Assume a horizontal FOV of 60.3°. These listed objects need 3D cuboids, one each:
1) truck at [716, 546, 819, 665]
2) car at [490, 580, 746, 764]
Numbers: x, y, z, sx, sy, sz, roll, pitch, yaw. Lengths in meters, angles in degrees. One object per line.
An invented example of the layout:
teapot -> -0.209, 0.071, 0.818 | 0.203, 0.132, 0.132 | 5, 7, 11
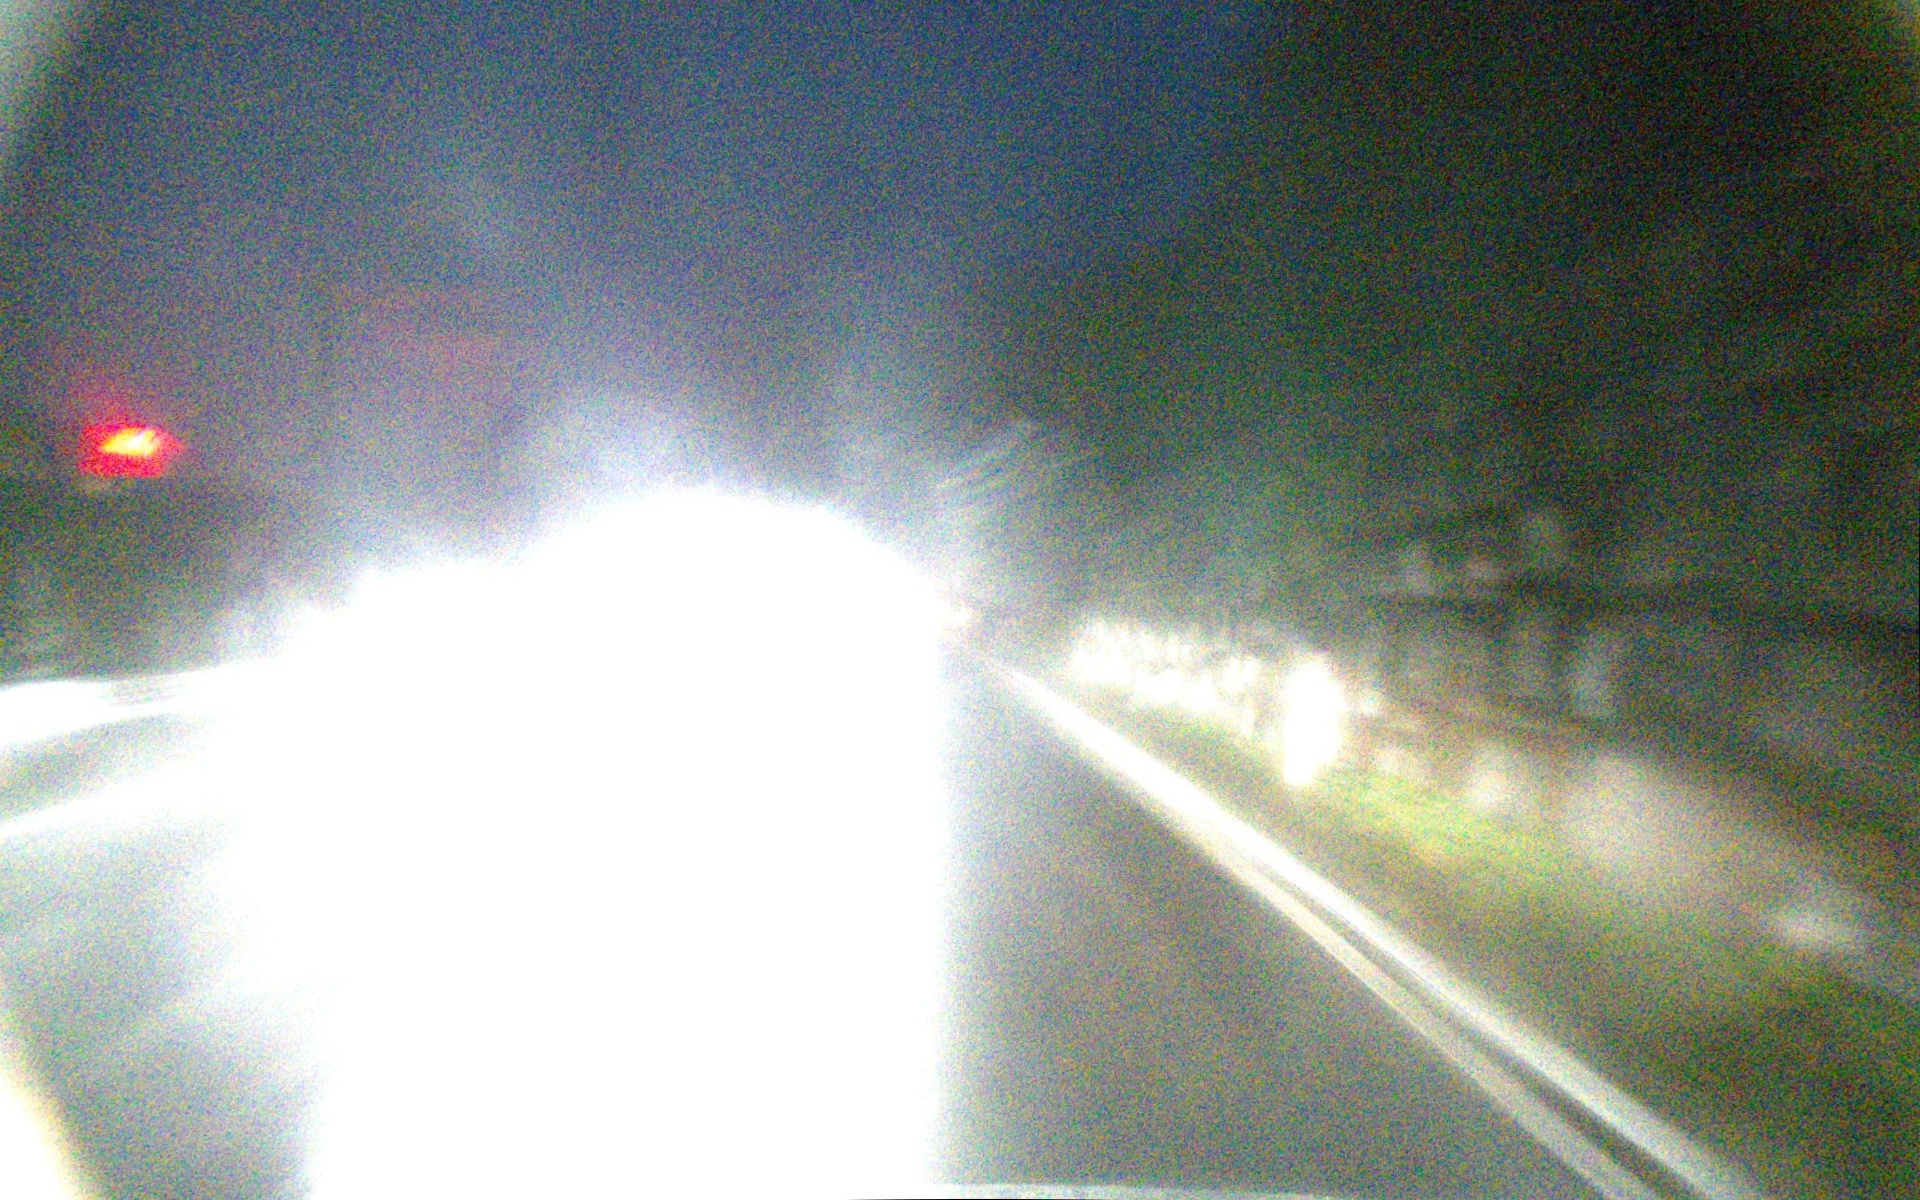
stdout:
truck -> -4.455, 0.113, 39.001 | 2.095, 2.579, 5.275 | 1, 0, -4
car -> -3.295, 0.629, 16.709 | 1.847, 1.603, 4.048 | 1, 0, -2
